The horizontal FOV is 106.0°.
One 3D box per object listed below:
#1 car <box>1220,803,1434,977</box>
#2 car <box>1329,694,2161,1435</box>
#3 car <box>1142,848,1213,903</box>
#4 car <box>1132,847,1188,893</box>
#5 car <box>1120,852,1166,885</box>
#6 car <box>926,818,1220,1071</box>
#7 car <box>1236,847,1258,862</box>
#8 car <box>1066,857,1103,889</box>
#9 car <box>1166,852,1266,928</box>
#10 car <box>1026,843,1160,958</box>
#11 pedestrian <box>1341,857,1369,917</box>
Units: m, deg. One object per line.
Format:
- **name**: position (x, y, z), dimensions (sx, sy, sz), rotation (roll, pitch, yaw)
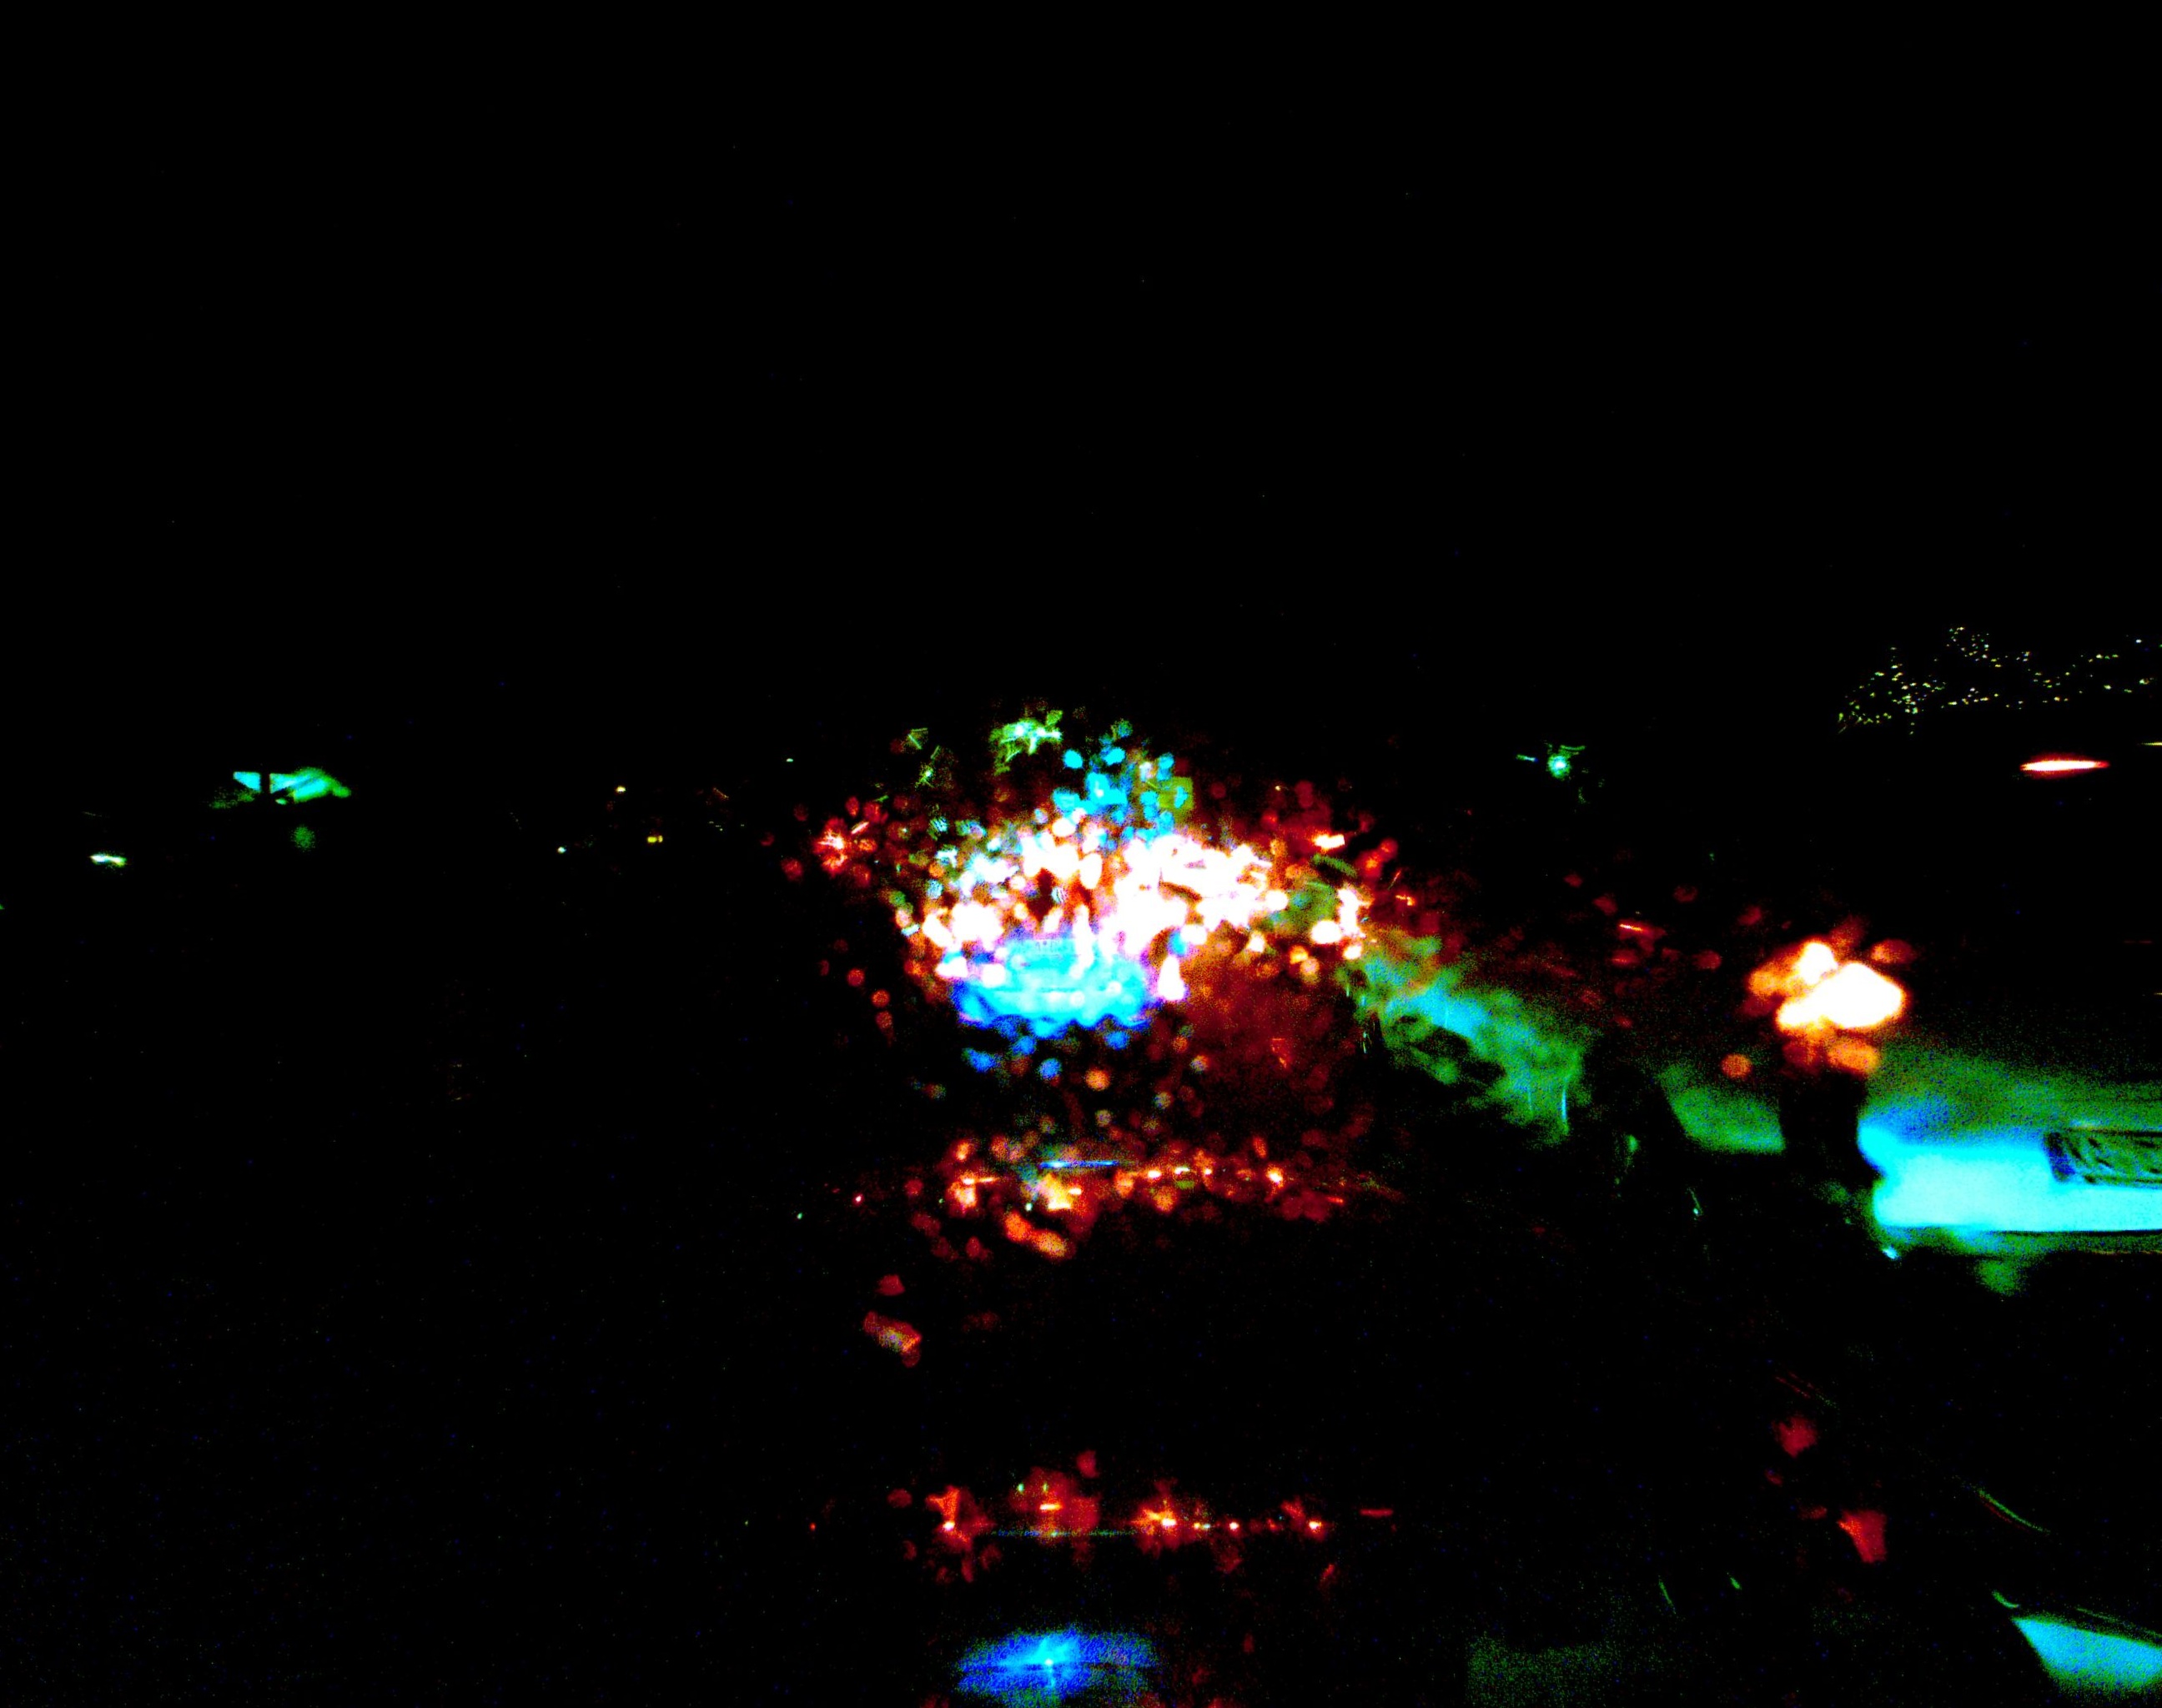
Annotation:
- **car**: position (3.250, 0.444, 11.645), dimensions (1.961, 2.047, 4.001), rotation (0, -1, 2)
- **car**: position (2.816, 0.545, 4.227), dimensions (1.845, 1.865, 4.342), rotation (0, -1, 2)
- **car**: position (3.122, 0.680, 27.052), dimensions (1.986, 1.670, 4.001), rotation (0, -1, 2)
- **car**: position (3.193, 0.645, 33.607), dimensions (1.987, 1.773, 4.000), rotation (0, -1, 0)
- **car**: position (3.047, 0.696, 40.553), dimensions (1.853, 1.544, 3.927), rotation (0, -1, -2)
- **car**: position (-0.040, 0.636, 7.817), dimensions (2.008, 1.717, 4.451), rotation (0, -1, 0)
- **car**: position (19.103, 0.097, 93.851), dimensions (1.857, 1.646, 3.965), rotation (-3, -1, 2)
- **car**: position (0.181, 1.092, 48.403), dimensions (1.989, 1.824, 3.995), rotation (0, -1, -3)
- **car**: position (3.280, 0.846, 20.572), dimensions (1.986, 1.718, 4.001), rotation (0, -1, 2)
- **car**: position (0.242, 0.707, 14.069), dimensions (1.986, 1.684, 4.001), rotation (0, -1, 2)
- **pedestrian**: position (7.931, 0.952, 23.568), dimensions (0.621, 1.701, 0.541), rotation (0, -1, -1)
